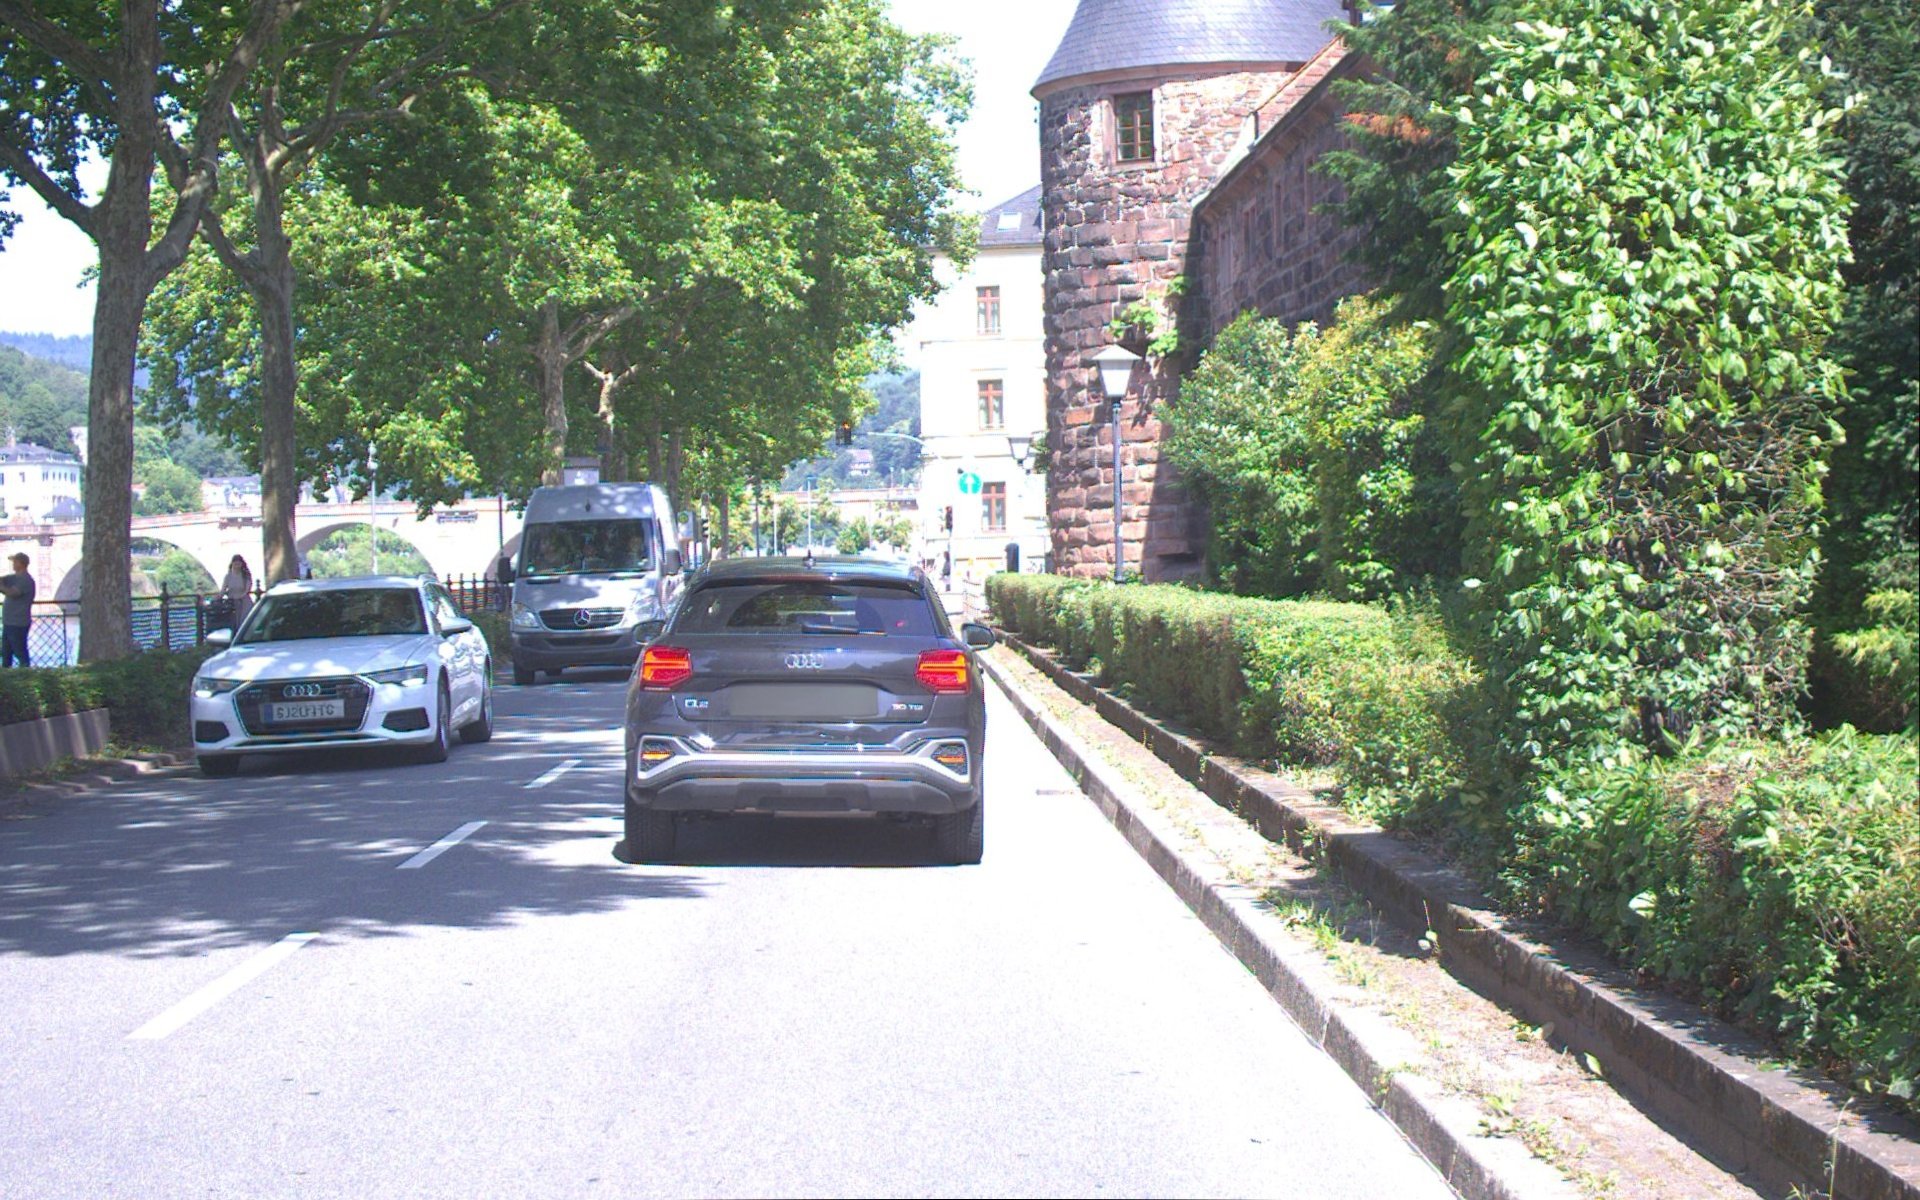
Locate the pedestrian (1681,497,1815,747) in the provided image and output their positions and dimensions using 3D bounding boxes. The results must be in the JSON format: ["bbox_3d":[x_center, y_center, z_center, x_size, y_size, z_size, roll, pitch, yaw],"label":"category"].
[{"bbox_3d":[5.341,0.142,23.331,0.698,1.647,0.705,-2,1,1],"label":"pedestrian"}]

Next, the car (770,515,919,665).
[{"bbox_3d":[-1.641,-0.171,49.498,1.993,2.007,4.000,-2,1,-1],"label":"car"}]

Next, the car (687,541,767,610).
[{"bbox_3d":[-6.068,-0.662,89.863,1.877,1.692,4.259,-2,1,-2],"label":"car"}]

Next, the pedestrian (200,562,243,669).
[{"bbox_3d":[-10.871,0.229,50.621,0.457,1.549,0.586,-2,1,-2],"label":"pedestrian"}]

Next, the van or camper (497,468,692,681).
[{"bbox_3d":[-4.791,-0.346,45.865,1.960,2.558,5.841,-3,1,-1],"label":"van or camper"}]

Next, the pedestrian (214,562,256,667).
[{"bbox_3d":[-10.857,0.214,51.508,0.457,1.549,0.586,-2,1,-1],"label":"pedestrian"}]

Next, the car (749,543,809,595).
[{"bbox_3d":[-6.058,-1.047,115.328,1.763,1.642,4.090,-2,1,-1],"label":"car"}]

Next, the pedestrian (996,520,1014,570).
[{"bbox_3d":[1.452,-1.774,111.518,0.557,1.627,0.660,0,0,0],"label":"pedestrian"}]

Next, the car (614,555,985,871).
[{"bbox_3d":[-0.828,0.509,18.036,1.748,1.489,3.629,0,1,-2],"label":"car"}]

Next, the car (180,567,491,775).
[{"bbox_3d":[-4.869,0.494,27.374,1.769,1.452,4.534,-2,1,-2],"label":"car"}]

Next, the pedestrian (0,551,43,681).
[{"bbox_3d":[-11.875,0.192,43.053,0.644,1.613,0.459,1,0,-3],"label":"pedestrian"}]

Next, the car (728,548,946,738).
[{"bbox_3d":[-1.061,0.342,31.322,1.801,1.557,3.716,-2,1,0],"label":"car"}]
